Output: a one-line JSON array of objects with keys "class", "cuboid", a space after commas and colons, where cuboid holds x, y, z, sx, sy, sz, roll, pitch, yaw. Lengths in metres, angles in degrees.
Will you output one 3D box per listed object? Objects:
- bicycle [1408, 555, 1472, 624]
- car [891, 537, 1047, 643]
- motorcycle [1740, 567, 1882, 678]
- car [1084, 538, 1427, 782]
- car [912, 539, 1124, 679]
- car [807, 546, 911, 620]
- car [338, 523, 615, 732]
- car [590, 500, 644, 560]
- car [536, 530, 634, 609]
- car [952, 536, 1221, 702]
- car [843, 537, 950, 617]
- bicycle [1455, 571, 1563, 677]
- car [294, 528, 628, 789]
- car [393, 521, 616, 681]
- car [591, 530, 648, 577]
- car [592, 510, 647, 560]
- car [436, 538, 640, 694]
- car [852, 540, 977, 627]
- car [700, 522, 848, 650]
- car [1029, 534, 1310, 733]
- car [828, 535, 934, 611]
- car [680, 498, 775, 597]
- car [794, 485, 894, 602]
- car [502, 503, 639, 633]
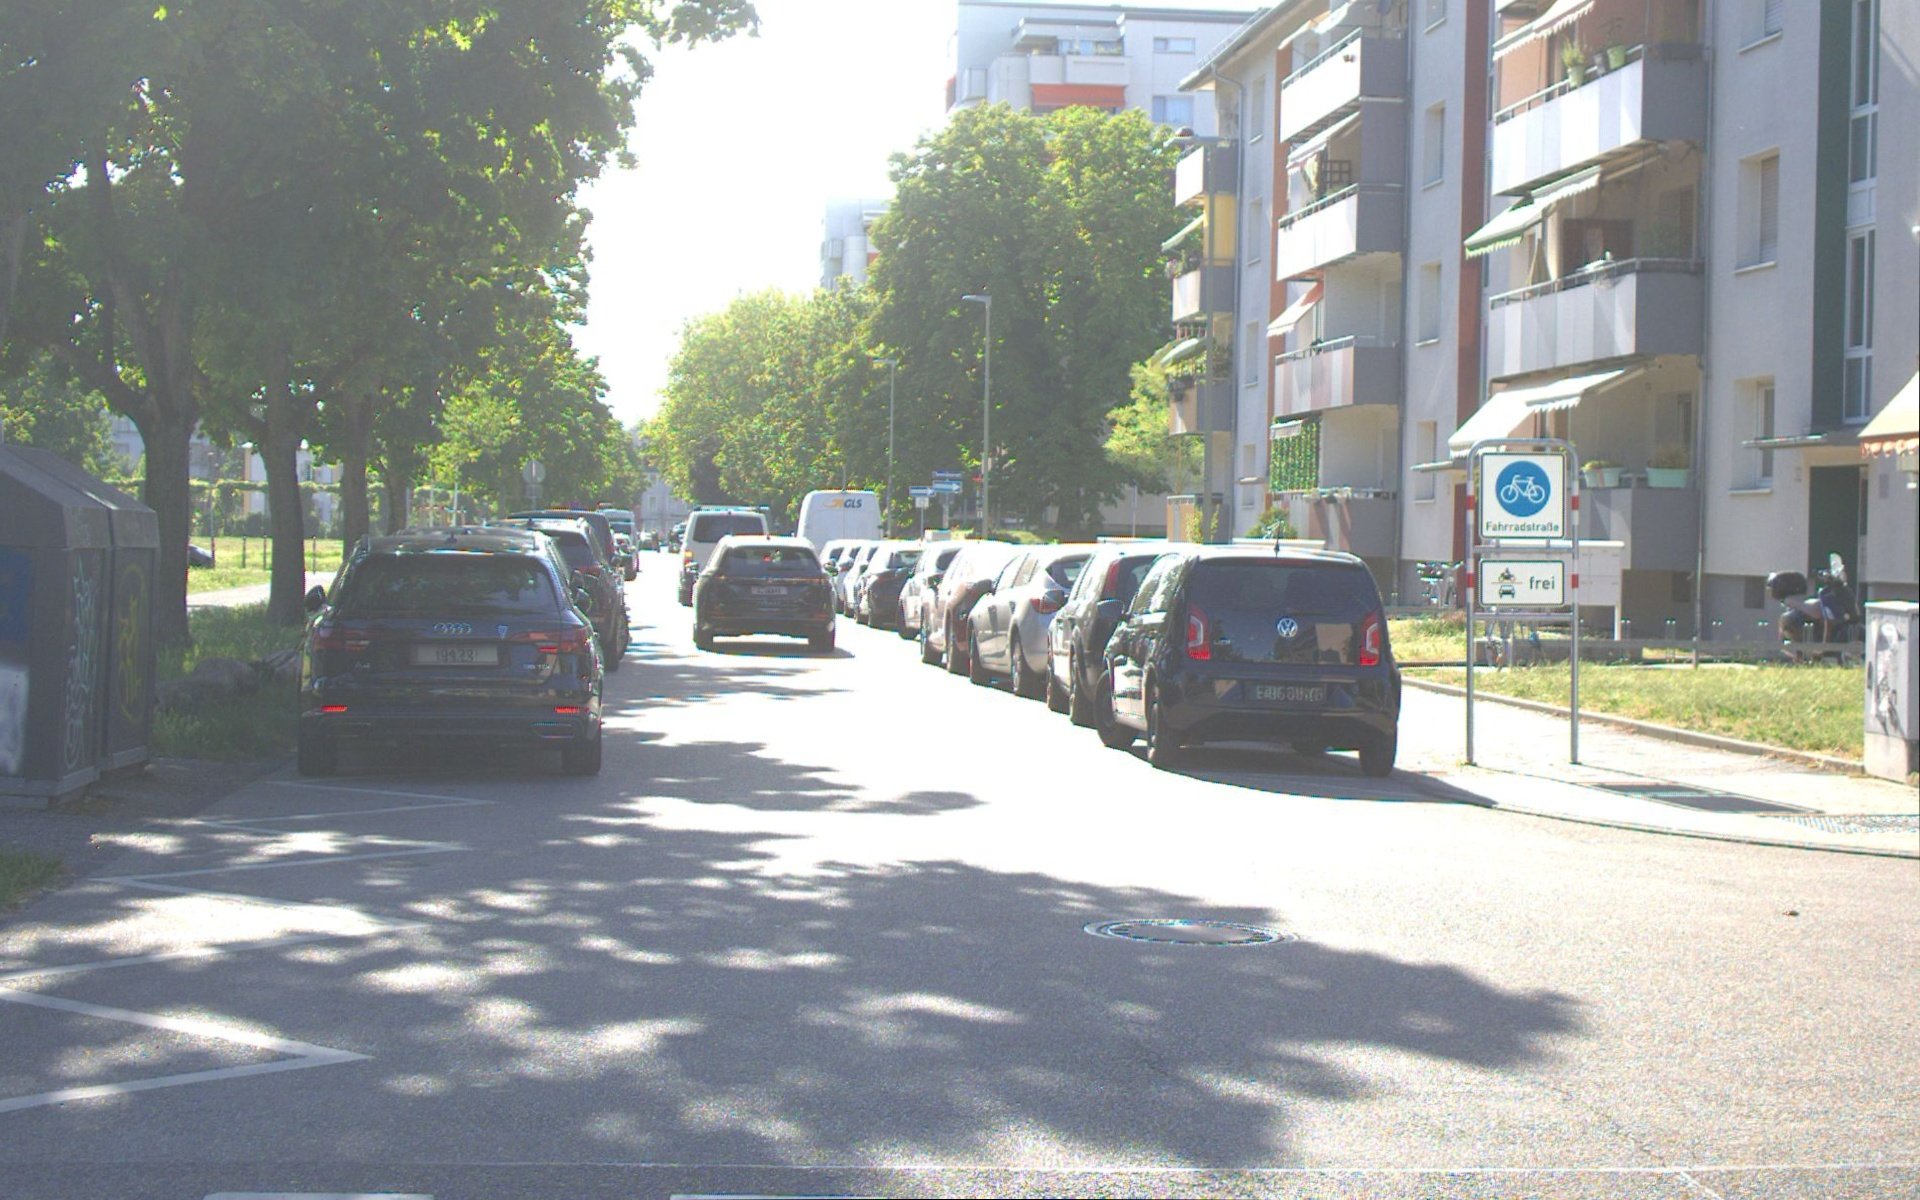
[{"class": "bicycle", "cuboid": [7.695, -0.179, 55.165, 0.523, 1.067, 2.010, -1, 1, -6]}, {"class": "car", "cuboid": [0.093, -0.179, 51.105, 1.747, 1.494, 3.862, 1, 1, -8]}, {"class": "motorcycle", "cuboid": [9.276, 0.231, 37.548, 0.582, 1.147, 2.038, 1, 1, -14]}, {"class": "car", "cuboid": [1.954, 0.353, 23.812, 1.658, 1.469, 3.793, 3, 1, -5]}, {"class": "car", "cuboid": [0.607, 0.055, 40.178, 1.843, 1.467, 5.066, 1, 1, -6]}, {"class": "car", "cuboid": [-2.244, -0.400, 75.074, 1.848, 1.461, 4.203, 2, 1, -7]}, {"class": "car", "cuboid": [-3.862, 0.144, 27.544, 1.993, 1.511, 5.159, 0, 1, -8]}, {"class": "car", "cuboid": [-14.509, -2.958, 145.456, 2.098, 2.488, 4.127, 1, 1, -4]}, {"class": "car", "cuboid": [-7.522, -0.645, 68.965, 1.873, 1.514, 4.471, -1, 1, -6]}, {"class": "car", "cuboid": [1.197, 0.142, 34.822, 1.873, 1.528, 4.494, 1, 1, -9]}, {"class": "car", "cuboid": [-1.230, -0.463, 65.056, 1.721, 1.430, 4.153, 1, 1, -5]}, {"class": "bicycle", "cuboid": [5.911, 0.244, 37.117, 0.720, 1.074, 1.897, 1, 1, -4]}, {"class": "car", "cuboid": [-3.122, 0.288, 21.817, 1.835, 1.447, 4.970, 1, 1, -7]}, {"class": "car", "cuboid": [-4.255, 0.004, 32.595, 1.880, 1.414, 3.804, 1, 0, -4]}, {"class": "car", "cuboid": [-11.181, -1.525, 113.027, 1.777, 1.490, 3.875, -1, 1, -4]}, {"class": "car", "cuboid": [-13.758, -2.637, 139.088, 2.098, 1.936, 4.127, 1, 1, -5]}, {"class": "car", "cuboid": [-4.633, 0.125, 38.324, 2.025, 1.620, 4.758, 0, 1, -4]}, {"class": "car", "cuboid": [-0.823, -0.316, 59.640, 1.699, 1.430, 4.473, 0, 1, -7]}, {"class": "car", "cuboid": [-2.464, -0.209, 44.990, 1.779, 1.526, 4.001, 2, 1, -4]}, {"class": "car", "cuboid": [1.694, 0.220, 29.284, 1.769, 1.524, 4.558, 1, 1, -4]}, {"class": "car", "cuboid": [-1.649, -0.580, 70.416, 1.877, 1.470, 4.141, 1, 1, -5]}, {"class": "car", "cuboid": [-4.823, -1.095, 71.173, 1.894, 1.984, 4.011, 0, 1, -4]}, {"class": "car", "cuboid": [-2.849, -1.386, 83.006, 2.142, 2.703, 6.842, 0, 1, -4]}, {"class": "car", "cuboid": [-5.684, -0.465, 50.621, 1.864, 1.778, 4.992, 1, 0, -5]}]
